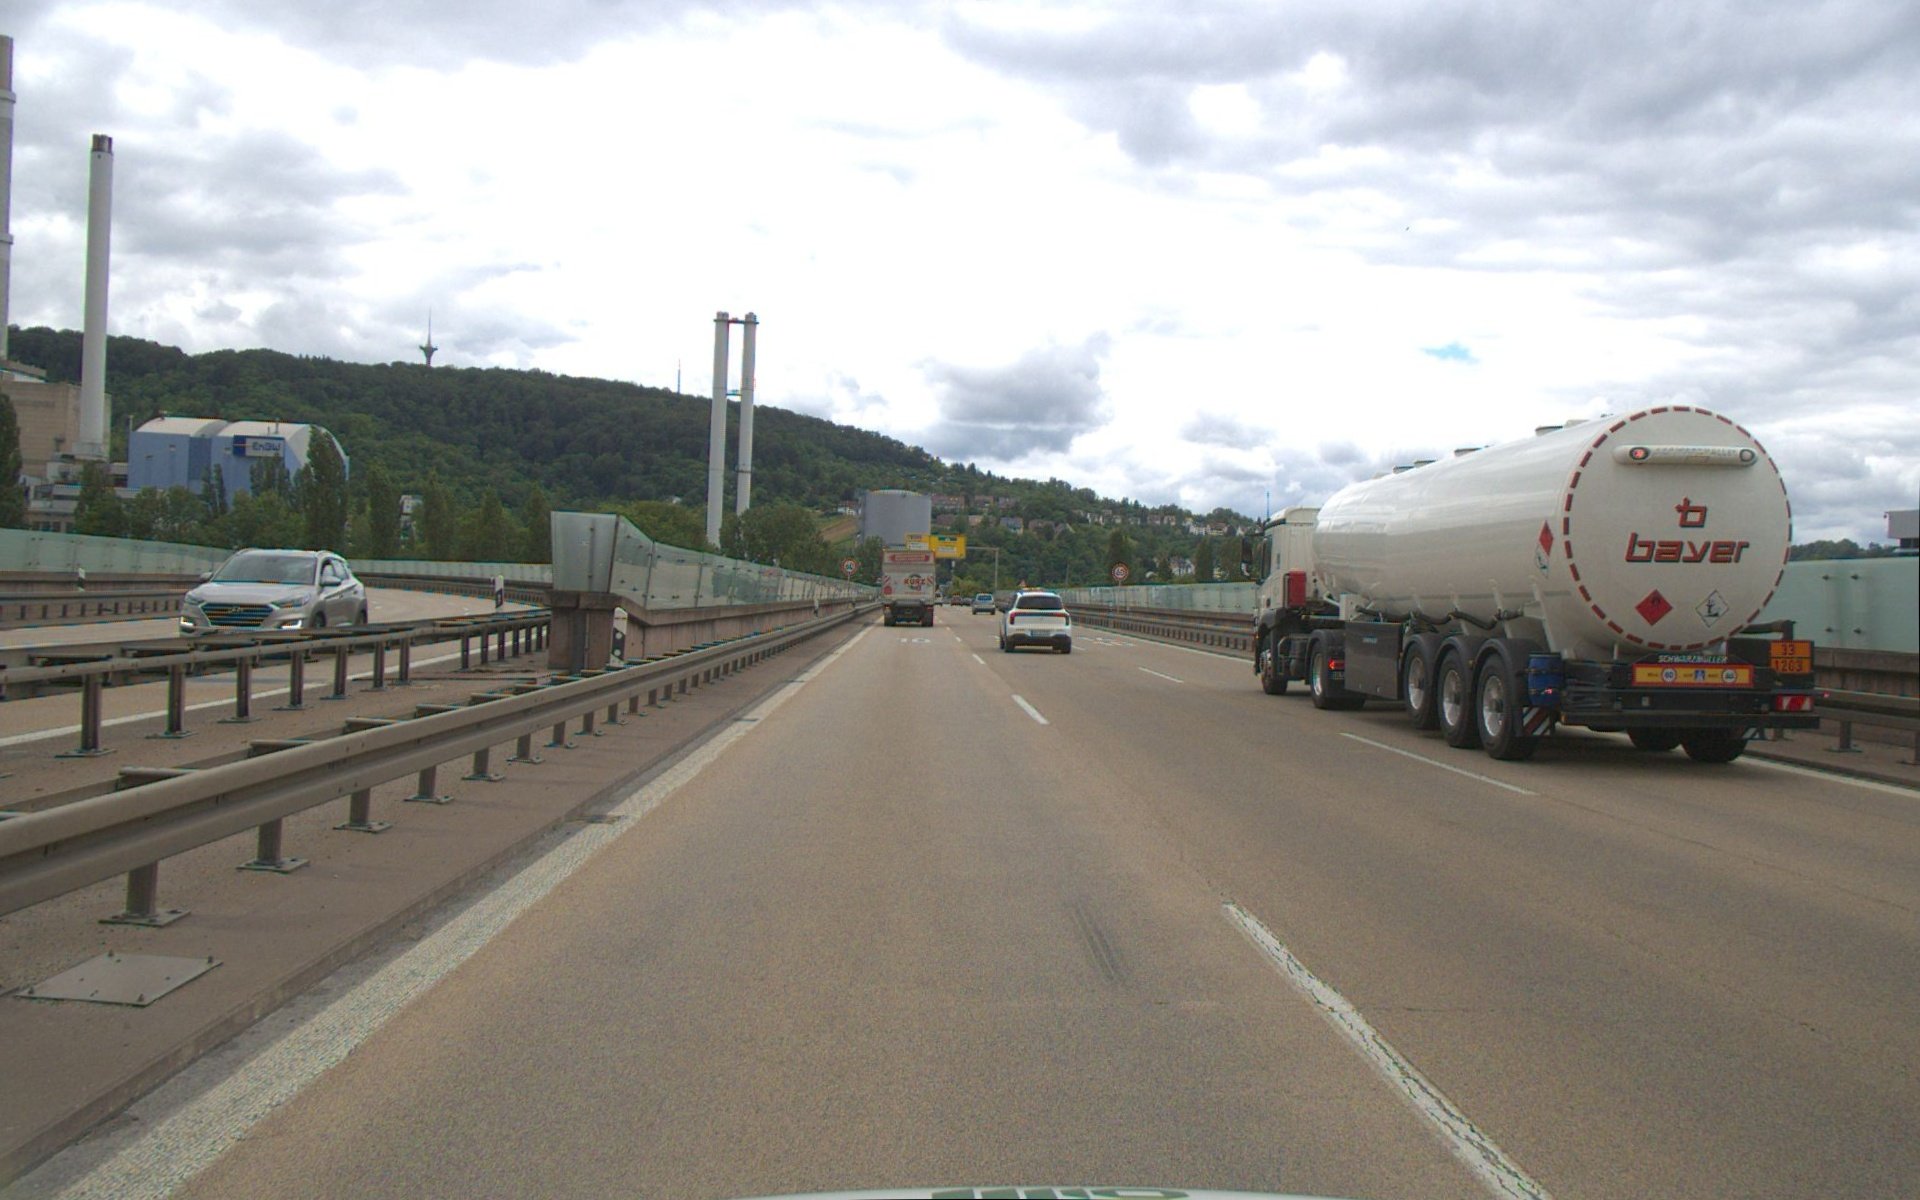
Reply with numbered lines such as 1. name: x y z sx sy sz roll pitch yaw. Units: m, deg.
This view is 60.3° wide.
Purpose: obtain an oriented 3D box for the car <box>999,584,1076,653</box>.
1. car: 2.147 0.480 46.870 1.885 1.816 4.112 1 0 -1

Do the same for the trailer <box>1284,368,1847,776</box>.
1. trailer: 6.543 -0.238 20.452 2.596 3.605 11.217 1 0 -1

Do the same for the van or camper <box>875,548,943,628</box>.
1. van or camper: -2.407 -0.549 80.816 3.058 3.642 8.549 1 0 0

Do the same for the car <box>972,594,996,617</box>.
1. car: 1.983 0.432 136.688 1.884 1.816 4.114 1 0 1

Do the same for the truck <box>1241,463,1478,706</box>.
1. truck: 6.404 -0.234 27.218 2.577 3.575 4.902 1 0 -1

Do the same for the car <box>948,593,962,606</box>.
1. car: -0.754 -0.013 240.061 1.885 1.816 4.112 1 0 -1

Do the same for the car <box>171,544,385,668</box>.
1. car: -10.248 0.071 25.210 1.809 1.702 4.402 1 0 -6
